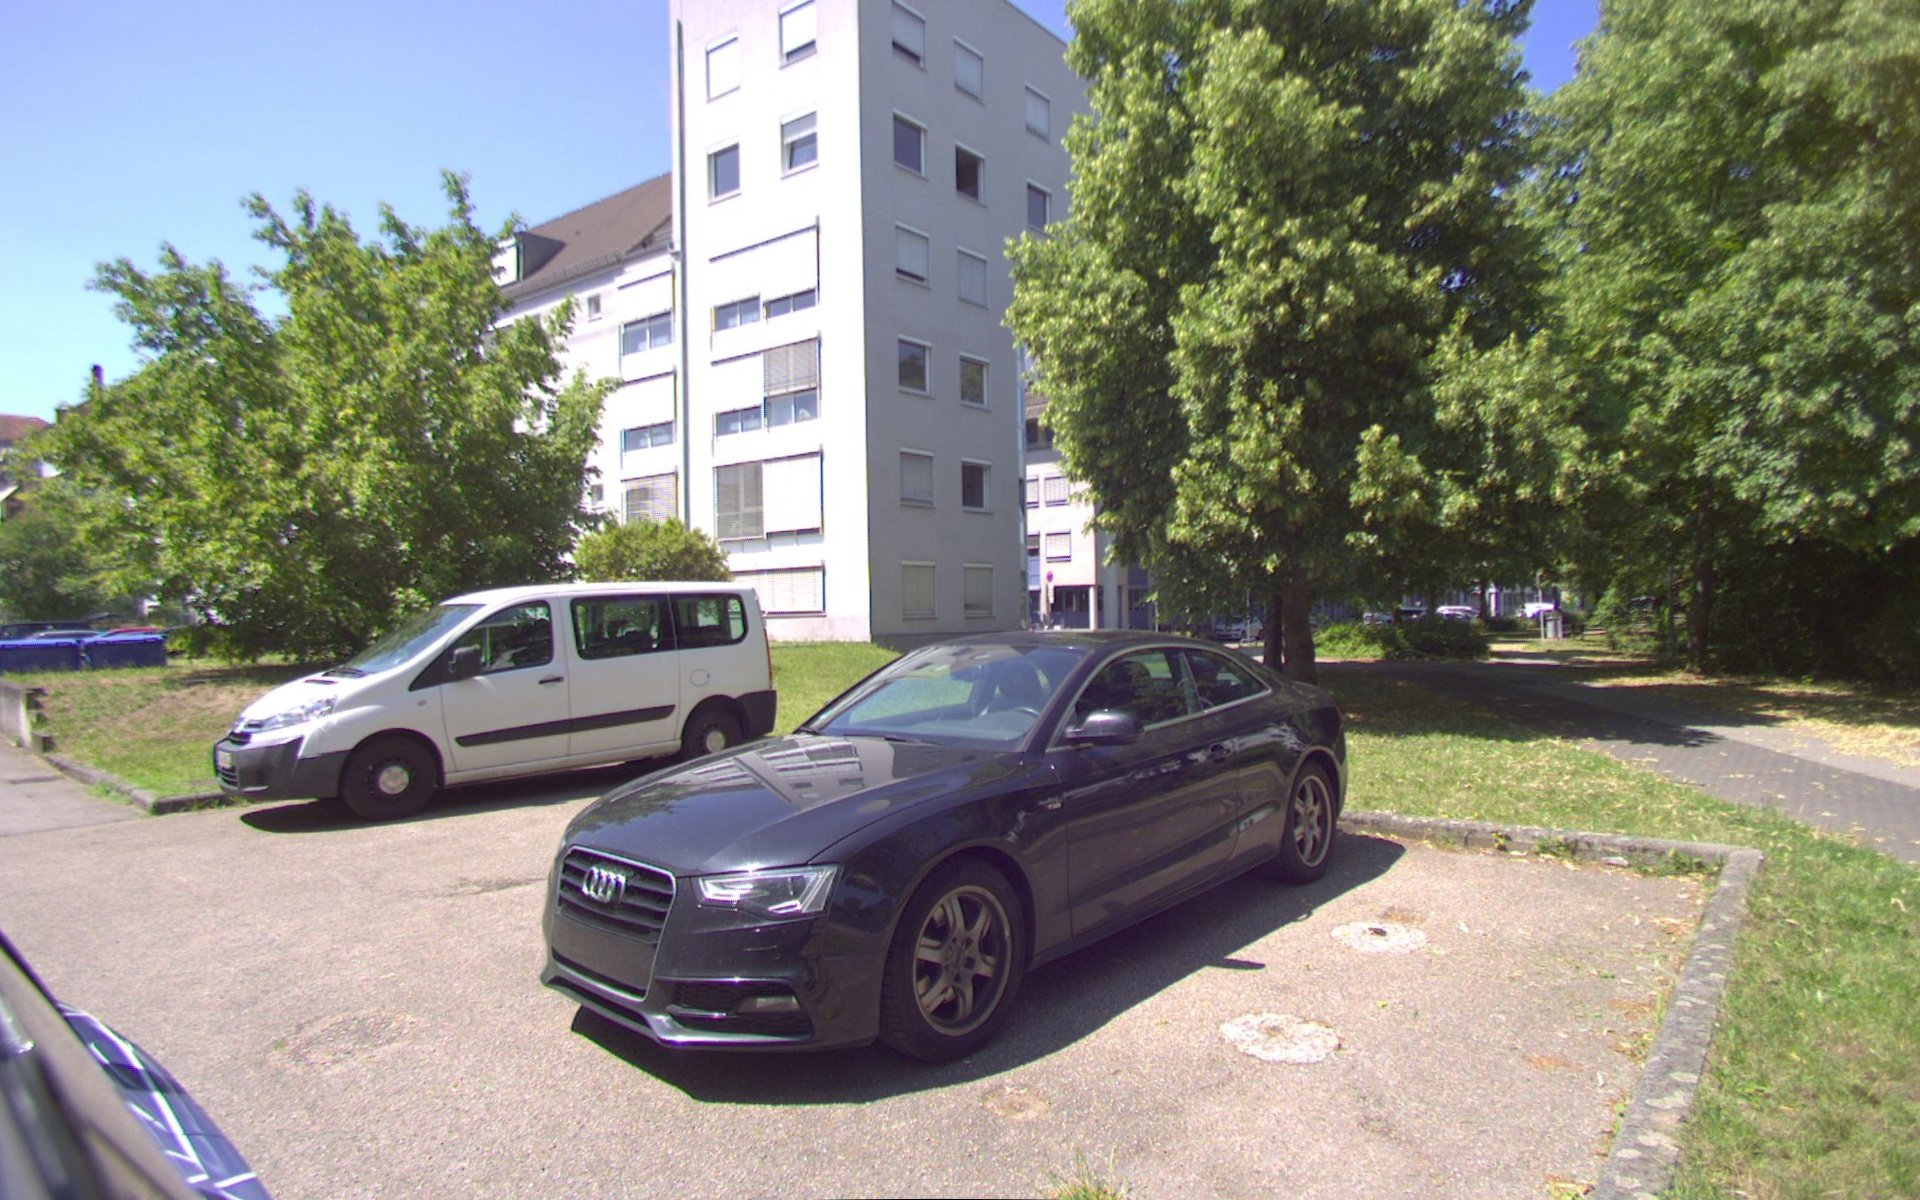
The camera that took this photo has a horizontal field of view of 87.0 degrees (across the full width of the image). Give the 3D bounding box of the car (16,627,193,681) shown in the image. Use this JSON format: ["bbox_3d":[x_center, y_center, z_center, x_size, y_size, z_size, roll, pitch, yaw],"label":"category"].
[{"bbox_3d":[-27.804,1.704,33.018,1.610,1.580,4.174,-1,-1,35],"label":"car"}]

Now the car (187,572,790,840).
[{"bbox_3d":[-4.183,0.759,9.636,2.068,1.897,4.794,-1,-1,43],"label":"car"}]

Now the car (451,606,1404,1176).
[{"bbox_3d":[0.259,0.782,4.833,2.024,1.390,4.381,-4,-3,43],"label":"car"}]

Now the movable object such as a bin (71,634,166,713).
[{"bbox_3d":[-16.157,1.377,19.430,1.095,1.399,1.255,-1,-1,41],"label":"movable object such as a bin"}]

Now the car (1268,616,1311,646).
[{"bbox_3d":[18.838,1.757,57.813,1.798,1.615,3.860,-1,-1,26],"label":"car"}]

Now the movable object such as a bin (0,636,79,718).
[{"bbox_3d":[-16.975,1.377,18.442,1.095,1.399,1.255,-1,-1,41],"label":"movable object such as a bin"}]

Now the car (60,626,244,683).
[{"bbox_3d":[-24.903,1.624,31.328,1.610,1.580,4.174,-1,-1,35],"label":"car"}]

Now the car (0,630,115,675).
[{"bbox_3d":[-35.430,2.013,38.974,1.610,1.580,4.174,-1,-1,35],"label":"car"}]

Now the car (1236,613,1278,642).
[{"bbox_3d":[17.564,1.627,59.777,1.798,1.615,3.860,-1,-1,26],"label":"car"}]

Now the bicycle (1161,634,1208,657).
[{"bbox_3d":[7.070,1.442,31.888,0.734,0.646,1.594,-5,-3,42],"label":"bicycle"}]

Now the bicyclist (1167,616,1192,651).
[{"bbox_3d":[6.887,1.048,31.712,0.518,1.053,0.515,-5,-4,43],"label":"bicyclist"}]

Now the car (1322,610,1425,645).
[{"bbox_3d":[20.434,1.352,50.113,4.337,1.622,1.908,-1,-1,39],"label":"car"}]

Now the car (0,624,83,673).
[{"bbox_3d":[-38.033,1.925,40.452,2.005,1.837,4.174,-1,-1,35],"label":"car"}]

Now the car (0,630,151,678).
[{"bbox_3d":[-32.742,1.951,37.412,1.610,1.580,4.174,-1,-1,35],"label":"car"}]

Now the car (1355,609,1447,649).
[{"bbox_3d":[22.988,1.495,52.829,3.996,2.029,1.974,-1,-1,39],"label":"car"}]
